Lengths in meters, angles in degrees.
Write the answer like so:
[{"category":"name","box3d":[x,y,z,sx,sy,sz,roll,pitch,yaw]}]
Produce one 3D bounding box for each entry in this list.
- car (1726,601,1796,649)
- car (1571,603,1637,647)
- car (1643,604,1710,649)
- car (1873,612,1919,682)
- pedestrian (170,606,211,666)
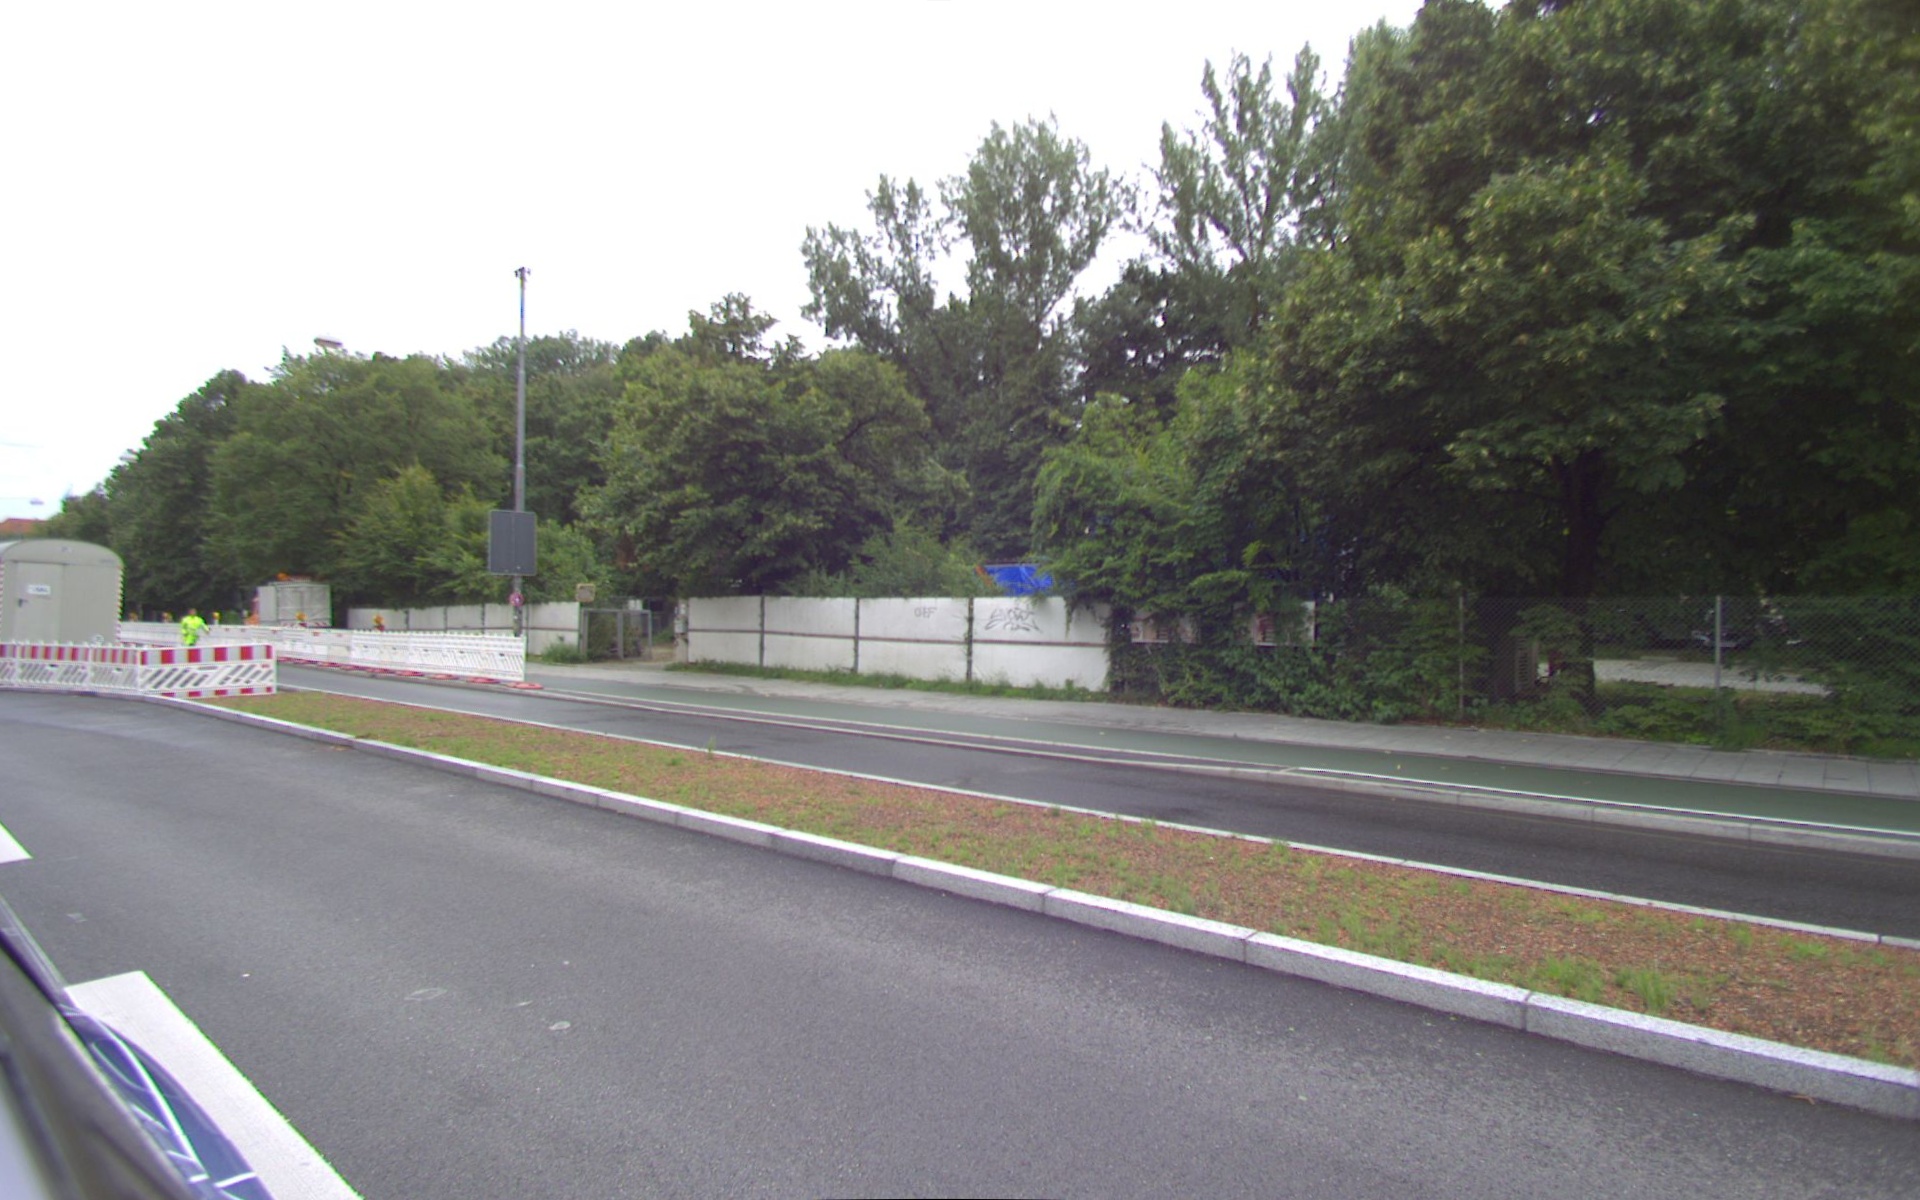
[{"category":"car","box3d":[30.529,0.942,38.616,1.997,1.732,3.949,-1,-2,38]},{"category":"car","box3d":[26.870,1.037,42.158,1.997,1.732,3.950,-1,-2,37]},{"category":"car","box3d":[28.968,1.066,40.878,1.997,1.732,3.949,-1,-2,38]},{"category":"car","box3d":[22.683,1.029,22.054,3.996,1.556,1.753,-1,-2,39]},{"category":"pedestrian","box3d":[-25.517,1.188,33.555,0.874,1.956,0.879,-1,-2,38]}]
